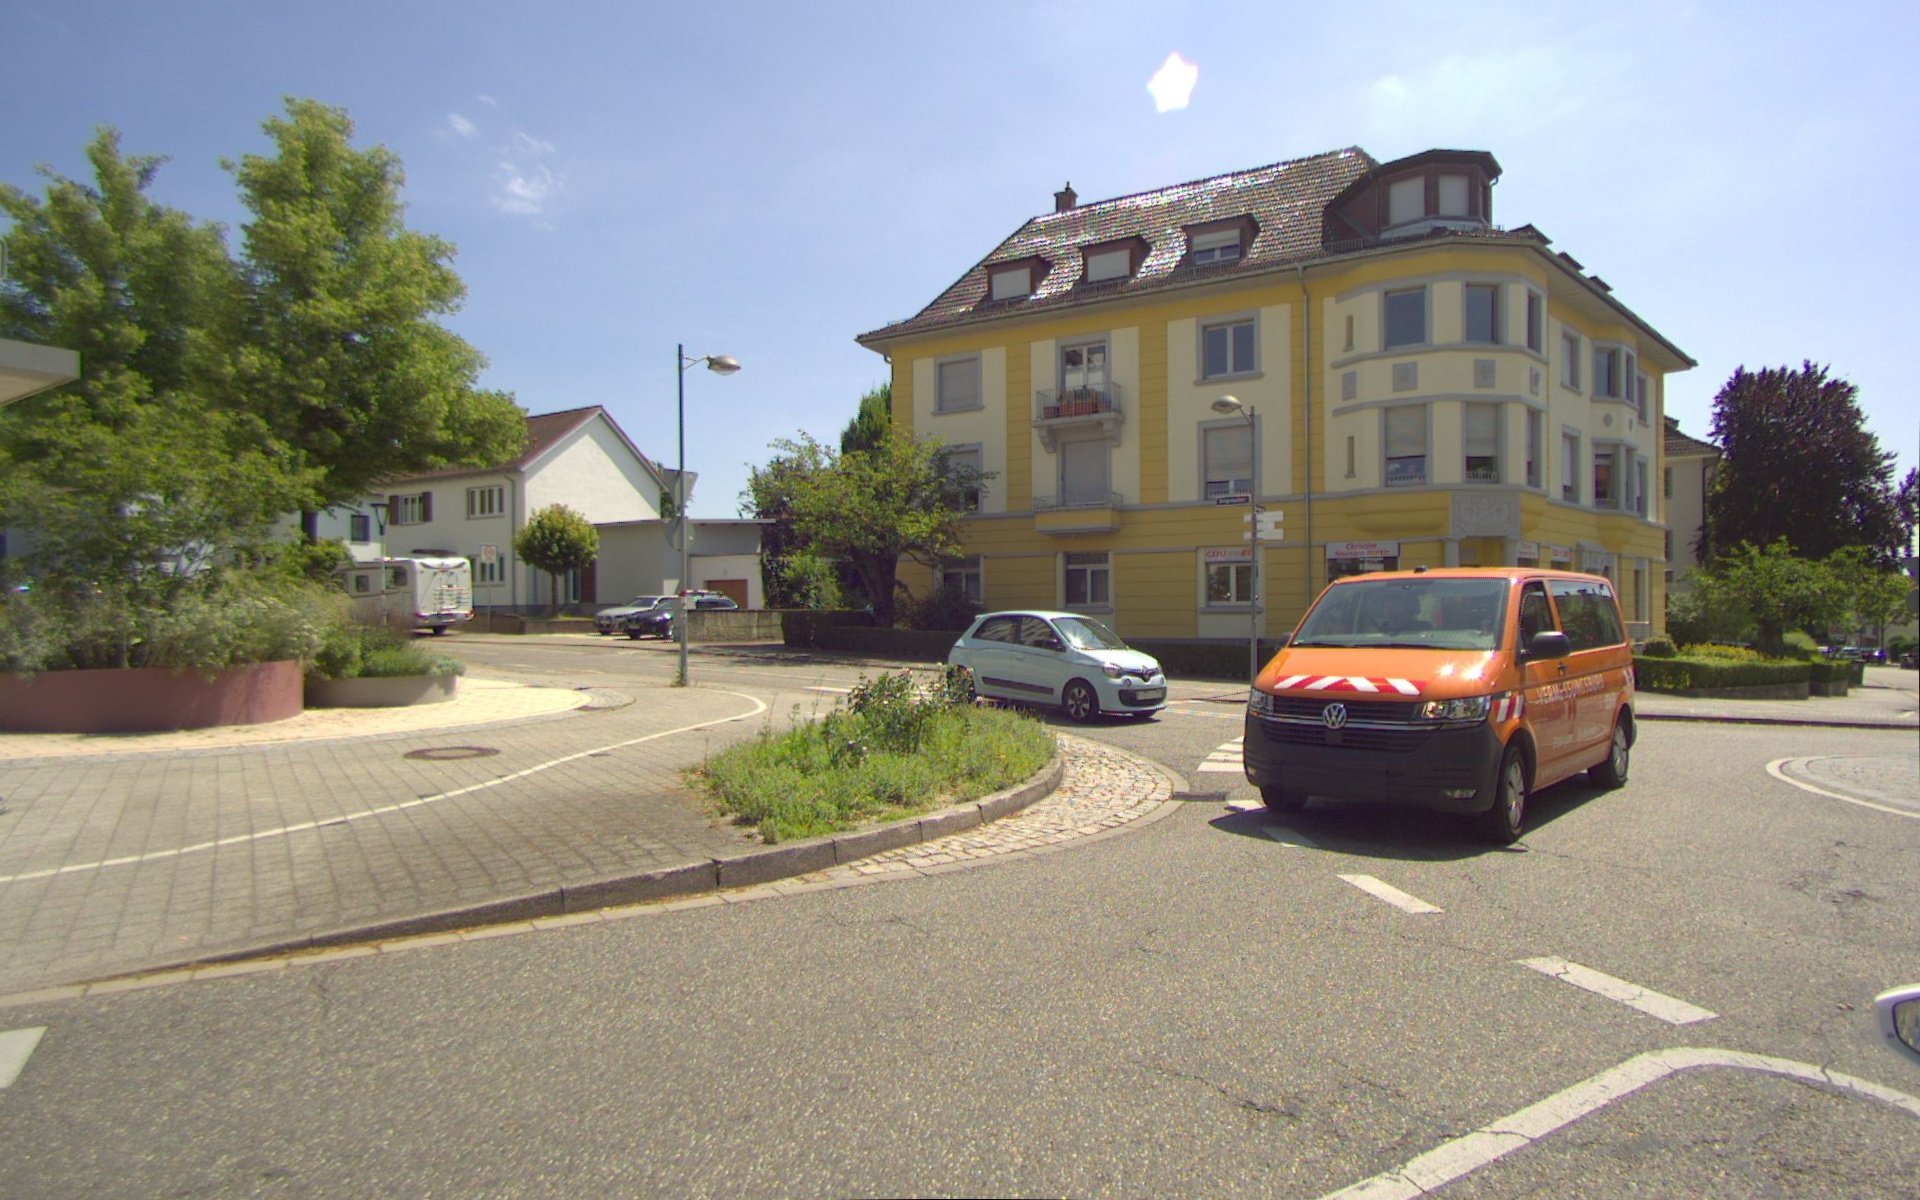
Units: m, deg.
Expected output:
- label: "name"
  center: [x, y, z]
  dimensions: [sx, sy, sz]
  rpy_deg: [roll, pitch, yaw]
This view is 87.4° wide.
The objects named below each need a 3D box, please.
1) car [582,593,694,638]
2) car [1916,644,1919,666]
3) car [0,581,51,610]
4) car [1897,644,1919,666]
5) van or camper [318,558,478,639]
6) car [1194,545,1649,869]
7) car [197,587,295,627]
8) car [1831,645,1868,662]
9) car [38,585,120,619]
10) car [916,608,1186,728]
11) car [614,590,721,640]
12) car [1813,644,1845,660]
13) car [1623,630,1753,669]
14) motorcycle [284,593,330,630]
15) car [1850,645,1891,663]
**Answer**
- label: "car"
  center: [-12.043, 0.587, 37.813]
  dimensions: [1.723, 1.607, 3.989]
  rpy_deg: [1, -1, 25]
- label: "car"
  center: [67.830, 3.877, 69.190]
  dimensions: [1.965, 1.529, 4.408]
  rpy_deg: [1, -1, 32]
- label: "car"
  center: [-57.487, -0.286, 60.153]
  dimensions: [1.781, 1.630, 4.119]
  rpy_deg: [1, -1, 23]
- label: "car"
  center: [70.653, 4.028, 73.682]
  dimensions: [1.965, 1.529, 4.408]
  rpy_deg: [1, -1, 32]
- label: "van or camper"
  center: [-19.985, -0.118, 35.653]
  dimensions: [5.779, 2.674, 2.270]
  rpy_deg: [1, 2, 29]
- label: "car"
  center: [4.196, 0.675, 8.603]
  dimensions: [4.988, 1.985, 1.924]
  rpy_deg: [0, -1, -45]
- label: "car"
  center: [-28.606, 0.264, 40.228]
  dimensions: [3.921, 1.525, 1.753]
  rpy_deg: [1, -1, 30]
- label: "car"
  center: [85.129, 5.101, 96.190]
  dimensions: [1.965, 1.529, 4.408]
  rpy_deg: [1, -1, 32]
- label: "car"
  center: [-41.605, 0.093, 47.446]
  dimensions: [3.921, 1.525, 1.753]
  rpy_deg: [1, -1, 30]
- label: "car"
  center: [1.294, 0.941, 15.661]
  dimensions: [1.649, 1.545, 4.107]
  rpy_deg: [1, 1, -44]
- label: "car"
  center: [-10.115, 0.523, 35.064]
  dimensions: [1.721, 1.607, 3.994]
  rpy_deg: [1, -1, 16]
- label: "car"
  center: [91.001, 5.450, 105.196]
  dimensions: [1.966, 1.508, 3.990]
  rpy_deg: [2, 0, 33]
- label: "car"
  center: [32.021, 2.155, 44.355]
  dimensions: [4.337, 1.529, 1.998]
  rpy_deg: [1, -1, 27]
- label: "motorcycle"
  center: [-24.788, 0.440, 38.179]
  dimensions: [0.727, 1.337, 2.228]
  rpy_deg: [2, -1, -13]
- label: "car"
  center: [82.111, 4.863, 90.652]
  dimensions: [1.965, 1.529, 4.408]
  rpy_deg: [1, -1, 32]
